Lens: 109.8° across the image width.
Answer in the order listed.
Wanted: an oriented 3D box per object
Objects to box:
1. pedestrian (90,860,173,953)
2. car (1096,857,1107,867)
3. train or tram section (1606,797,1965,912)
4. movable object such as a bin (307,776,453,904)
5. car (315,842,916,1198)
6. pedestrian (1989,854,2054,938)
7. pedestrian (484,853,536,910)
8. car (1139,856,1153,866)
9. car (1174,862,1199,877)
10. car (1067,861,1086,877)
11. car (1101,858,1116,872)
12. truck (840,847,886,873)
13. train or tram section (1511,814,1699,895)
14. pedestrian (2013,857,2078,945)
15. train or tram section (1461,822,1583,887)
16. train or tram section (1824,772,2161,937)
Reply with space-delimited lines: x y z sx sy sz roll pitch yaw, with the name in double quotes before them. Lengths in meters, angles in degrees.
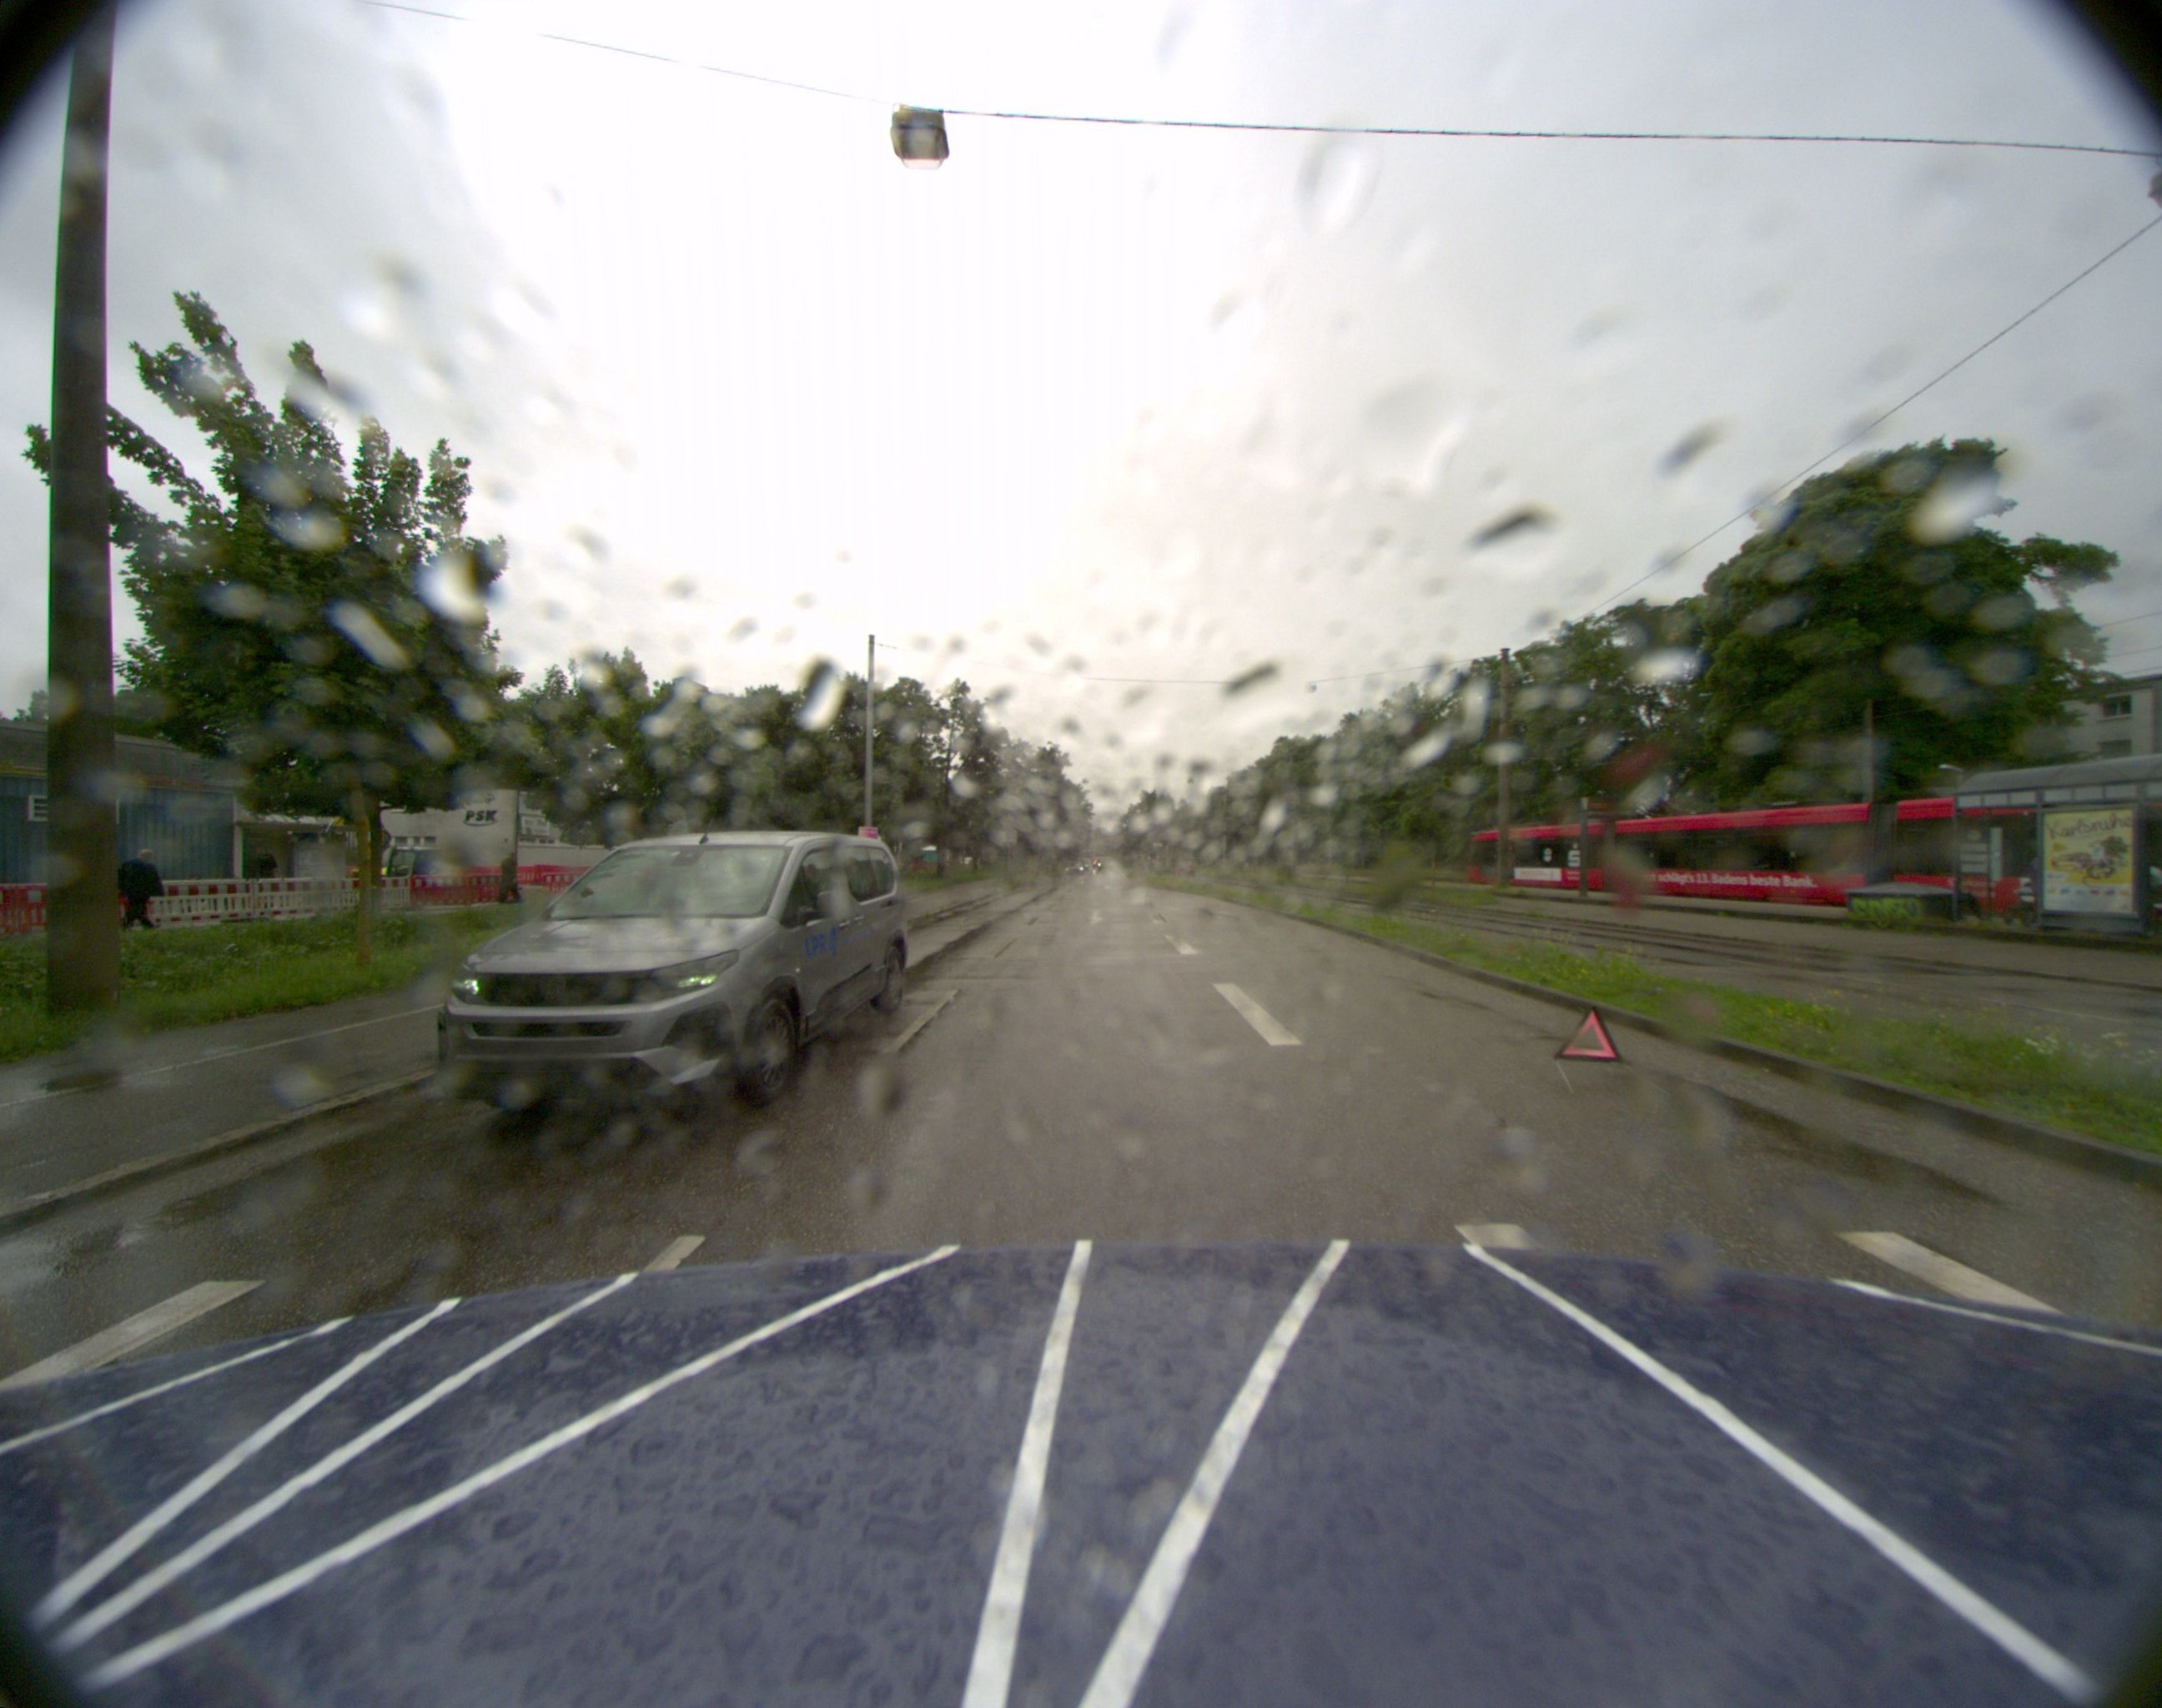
"pedestrian" -20.272 1.098 16.242 0.580 1.885 0.876 -2 1 0
"car" 3.690 1.392 137.980 1.898 1.602 4.000 -2 1 1
"train or tram section" 24.131 0.021 27.356 3.541 3.381 10.261 0 0 1
"movable object such as a bin" -26.122 -0.507 28.519 1.557 4.401 3.909 -2 1 2
"car" -2.885 0.846 6.185 1.998 1.785 4.562 -2 0 0
"pedestrian" 17.856 0.784 14.436 0.522 1.553 0.602 -2 1 15
"pedestrian" -19.955 0.933 26.562 0.814 1.924 1.212 -2 1 0
"car" 9.443 1.022 109.999 1.741 1.428 3.820 -1 1 1
"car" 10.214 1.497 73.875 1.685 1.353 4.251 2 0 -1
"car" -0.447 1.545 80.234 1.858 1.583 3.999 -2 1 0
"car" 3.519 1.378 98.320 1.812 1.683 3.776 -2 1 0
"truck" -25.955 0.610 90.887 2.811 2.882 8.749 -2 1 0
"train or tram section" 24.293 0.029 35.946 3.541 3.392 7.903 0 0 1
"pedestrian" 17.481 0.843 13.778 0.444 1.553 0.602 -2 1 15
"train or tram section" 24.454 0.029 42.499 3.541 3.398 5.770 0 0 1
"train or tram section" 23.911 0.013 18.071 3.541 3.370 9.278 0 0 1
